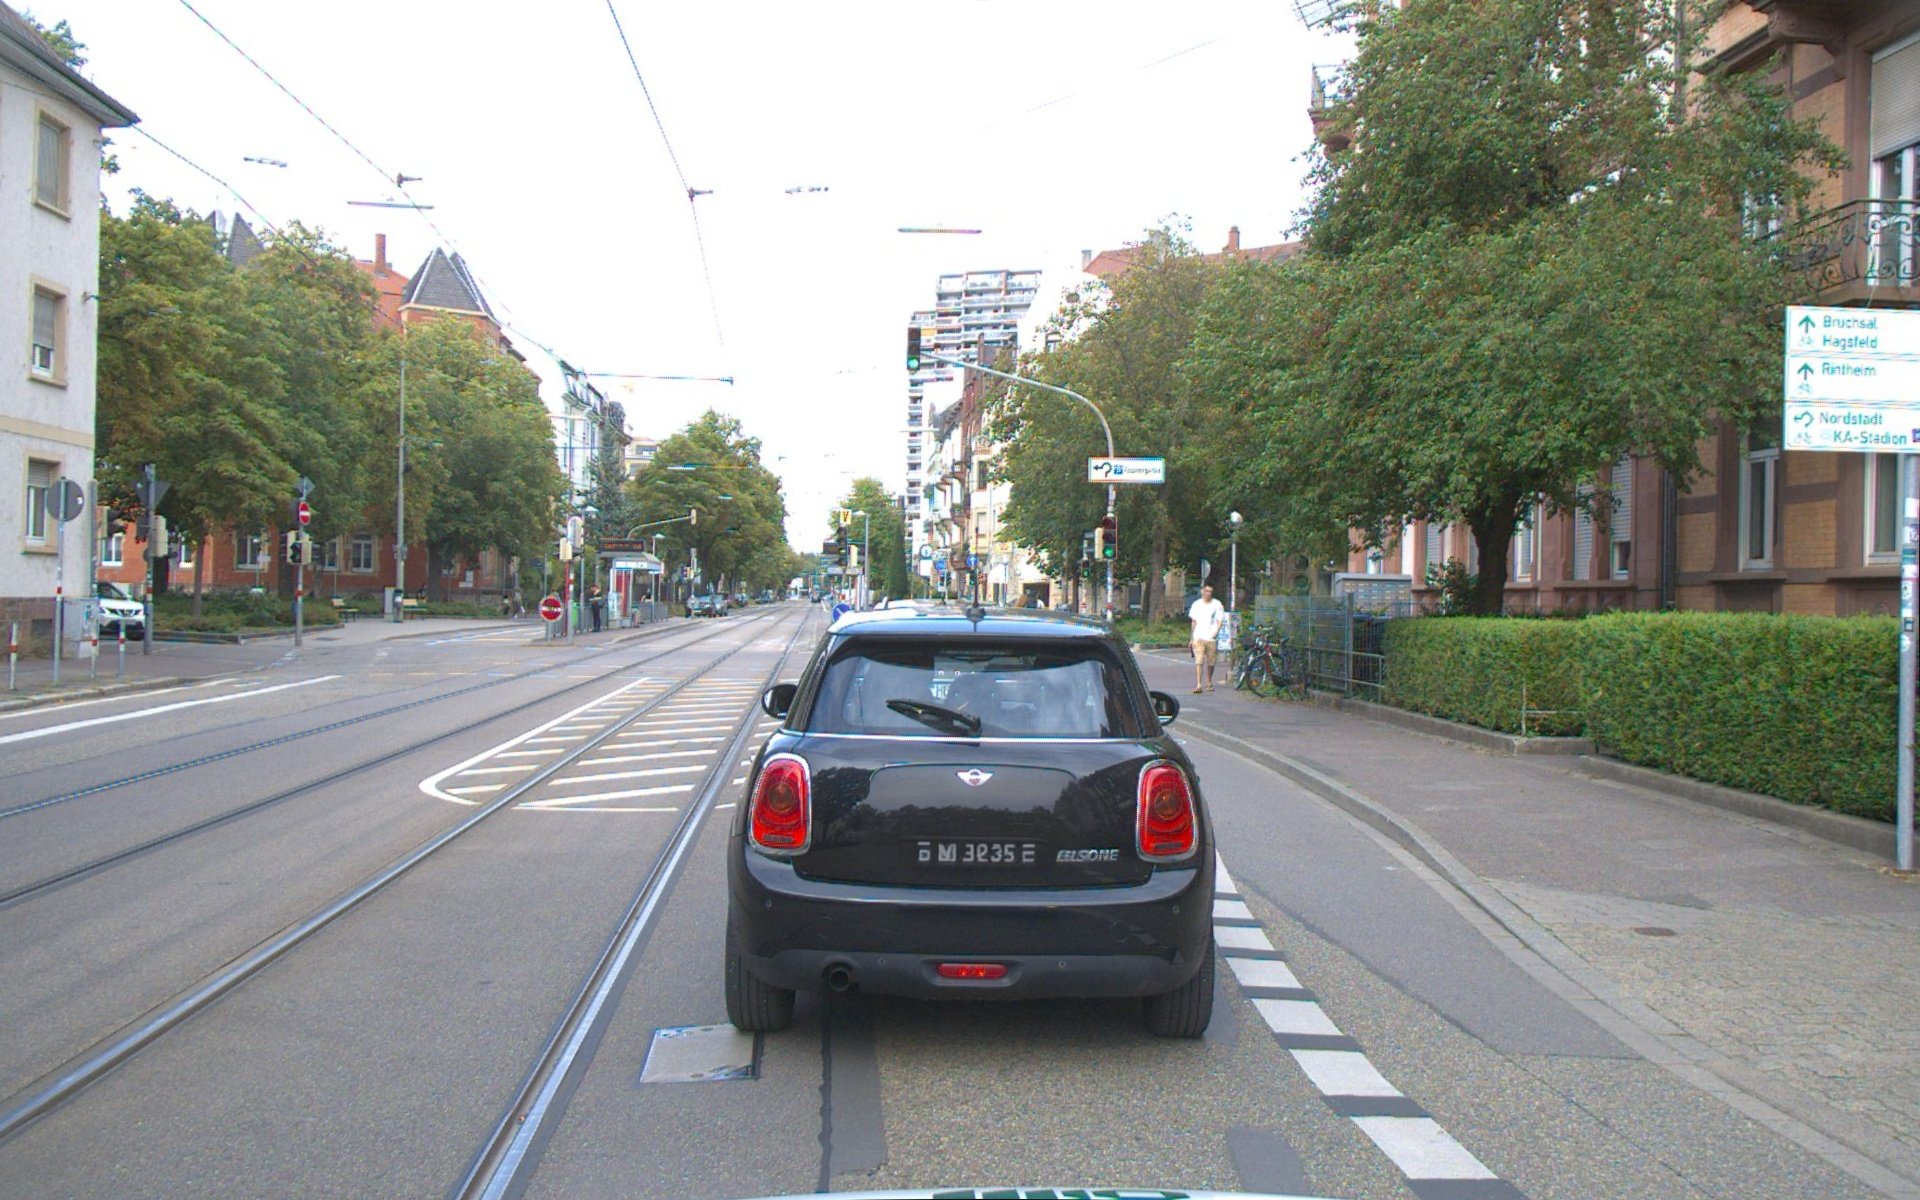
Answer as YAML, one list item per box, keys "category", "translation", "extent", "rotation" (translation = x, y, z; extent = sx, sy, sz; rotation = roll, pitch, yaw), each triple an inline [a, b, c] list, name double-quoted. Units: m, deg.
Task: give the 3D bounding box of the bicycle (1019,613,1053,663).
- category: "bicycle"
  translation: [1.873, 0.935, 40.991]
  extent: [0.670, 1.191, 1.696]
  rotation: [1, 0, -3]

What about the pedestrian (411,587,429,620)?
- category: "pedestrian"
  translation: [-28.874, 0.195, 88.453]
  extent: [0.817, 1.733, 0.731]
  rotation: [1, 0, -10]

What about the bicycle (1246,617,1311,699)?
- category: "bicycle"
  translation: [4.610, 0.828, 24.008]
  extent: [0.498, 1.107, 1.549]
  rotation: [-2, 0, -4]

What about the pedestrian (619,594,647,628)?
- category: "pedestrian"
  translation: [-12.877, 0.437, 65.235]
  extent: [1.039, 1.316, 0.983]
  rotation: [1, 0, -10]

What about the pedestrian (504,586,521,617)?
- category: "pedestrian"
  translation: [-24.858, 0.088, 91.959]
  extent: [0.817, 1.733, 0.731]
  rotation: [1, 0, -10]

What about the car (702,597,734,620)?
- category: "car"
  translation: [-16.719, 0.600, 114.362]
  extent: [1.717, 1.466, 3.998]
  rotation: [3, 0, -3]

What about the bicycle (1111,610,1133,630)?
- category: "bicycle"
  translation: [8.857, 1.076, 90.409]
  extent: [0.441, 1.073, 1.642]
  rotation: [1, 0, 37]

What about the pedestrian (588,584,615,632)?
- category: "pedestrian"
  translation: [-12.412, 0.276, 57.278]
  extent: [0.836, 1.649, 0.841]
  rotation: [1, 0, -10]

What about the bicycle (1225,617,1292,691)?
- category: "bicycle"
  translation: [4.814, 0.858, 26.755]
  extent: [0.658, 1.125, 1.670]
  rotation: [1, 0, -4]

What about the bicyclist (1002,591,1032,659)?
- category: "bicyclist"
  translation: [1.332, 0.573, 38.575]
  extent: [0.583, 1.577, 1.013]
  rotation: [1, 0, -5]

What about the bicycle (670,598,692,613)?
- category: "bicycle"
  translation: [-21.534, 0.427, 127.628]
  extent: [1.659, 1.138, 0.564]
  rotation: [1, 0, -44]

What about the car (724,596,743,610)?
- category: "car"
  translation: [-26.871, 0.338, 196.548]
  extent: [1.954, 1.579, 3.996]
  rotation: [1, 0, -4]

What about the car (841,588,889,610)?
- category: "car"
  translation: [-10.324, -0.061, 180.367]
  extent: [2.357, 2.312, 5.003]
  rotation: [1, 0, 45]

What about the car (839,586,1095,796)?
- category: "car"
  translation: [0.027, 0.679, 14.316]
  extent: [1.887, 1.536, 3.999]
  rotation: [1, 0, -1]

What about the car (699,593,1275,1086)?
- category: "car"
  translation: [0.051, 0.724, 6.984]
  extent: [1.716, 1.466, 3.999]
  rotation: [1, 0, -1]

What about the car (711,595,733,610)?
- category: "car"
  translation: [-25.008, 0.253, 173.675]
  extent: [1.954, 1.579, 3.996]
  rotation: [1, 0, -4]

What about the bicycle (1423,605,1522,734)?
- category: "bicycle"
  translation: [5.475, 0.715, 17.738]
  extent: [0.505, 1.304, 1.549]
  rotation: [1, 0, -2]

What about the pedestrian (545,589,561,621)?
- category: "pedestrian"
  translation: [-22.507, 0.296, 91.502]
  extent: [0.680, 1.749, 0.757]
  rotation: [1, 0, -3]

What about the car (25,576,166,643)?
- category: "car"
  translation: [-24.139, 0.302, 46.129]
  extent: [4.075, 1.751, 1.834]
  rotation: [-2, -3, 35]

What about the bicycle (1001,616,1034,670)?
- category: "bicycle"
  translation: [1.333, 0.988, 38.578]
  extent: [0.586, 1.191, 1.695]
  rotation: [1, 0, -4]

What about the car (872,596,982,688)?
- category: "car"
  translation: [-0.655, 0.681, 29.104]
  extent: [1.717, 1.466, 4.476]
  rotation: [1, 0, -4]

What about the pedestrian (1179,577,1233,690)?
- category: "pedestrian"
  translation: [3.970, 0.531, 26.772]
  extent: [0.715, 1.784, 0.949]
  rotation: [1, 0, 0]

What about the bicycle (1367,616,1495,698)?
- category: "bicycle"
  translation: [6.105, 0.737, 21.448]
  extent: [1.515, 1.026, 0.509]
  rotation: [1, 0, -7]

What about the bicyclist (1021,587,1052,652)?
- category: "bicyclist"
  translation: [1.882, 0.471, 40.930]
  extent: [0.670, 1.591, 0.997]
  rotation: [1, 0, -3]

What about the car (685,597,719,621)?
- category: "car"
  translation: [-16.587, 0.556, 106.465]
  extent: [1.717, 1.466, 3.998]
  rotation: [3, 0, -3]
